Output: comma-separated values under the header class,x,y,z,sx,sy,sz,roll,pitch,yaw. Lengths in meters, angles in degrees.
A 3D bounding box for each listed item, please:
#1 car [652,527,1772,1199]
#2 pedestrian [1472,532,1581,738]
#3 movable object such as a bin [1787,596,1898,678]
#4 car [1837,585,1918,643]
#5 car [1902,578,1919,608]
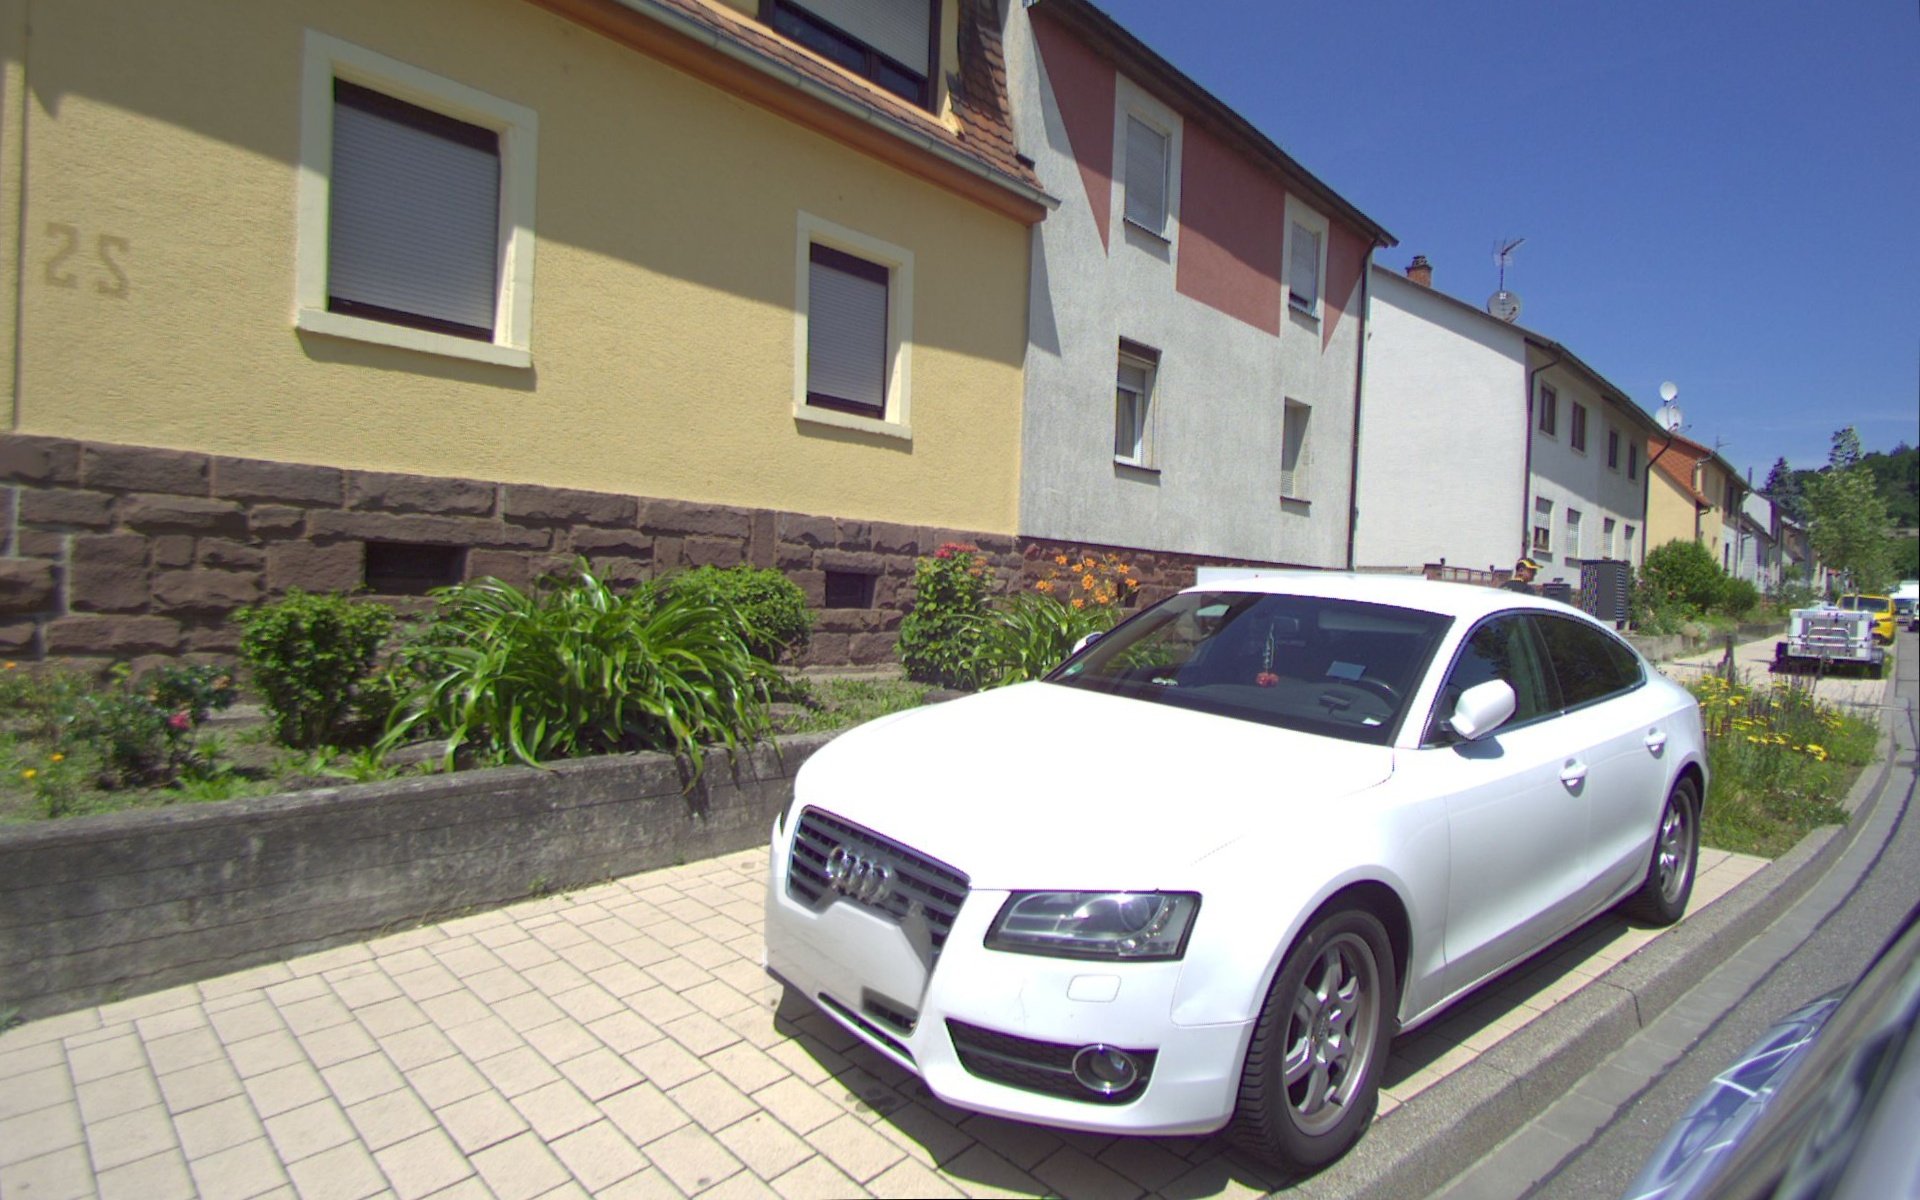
class,x,y,z,sx,sy,sz,roll,pitch,yaw
car,1.377,0.524,3.844,4.551,1.435,1.761,-1,4,-40
pedestrian,5.958,0.337,10.639,0.746,2.039,1.017,0,0,45
movable object such as a bin,17.907,0.692,20.511,1.571,1.434,2.995,3,3,43
car,37.892,0.498,41.867,2.190,2.037,5.537,7,6,42
car,73.985,-0.562,77.922,1.982,2.210,3.936,0,1,45
